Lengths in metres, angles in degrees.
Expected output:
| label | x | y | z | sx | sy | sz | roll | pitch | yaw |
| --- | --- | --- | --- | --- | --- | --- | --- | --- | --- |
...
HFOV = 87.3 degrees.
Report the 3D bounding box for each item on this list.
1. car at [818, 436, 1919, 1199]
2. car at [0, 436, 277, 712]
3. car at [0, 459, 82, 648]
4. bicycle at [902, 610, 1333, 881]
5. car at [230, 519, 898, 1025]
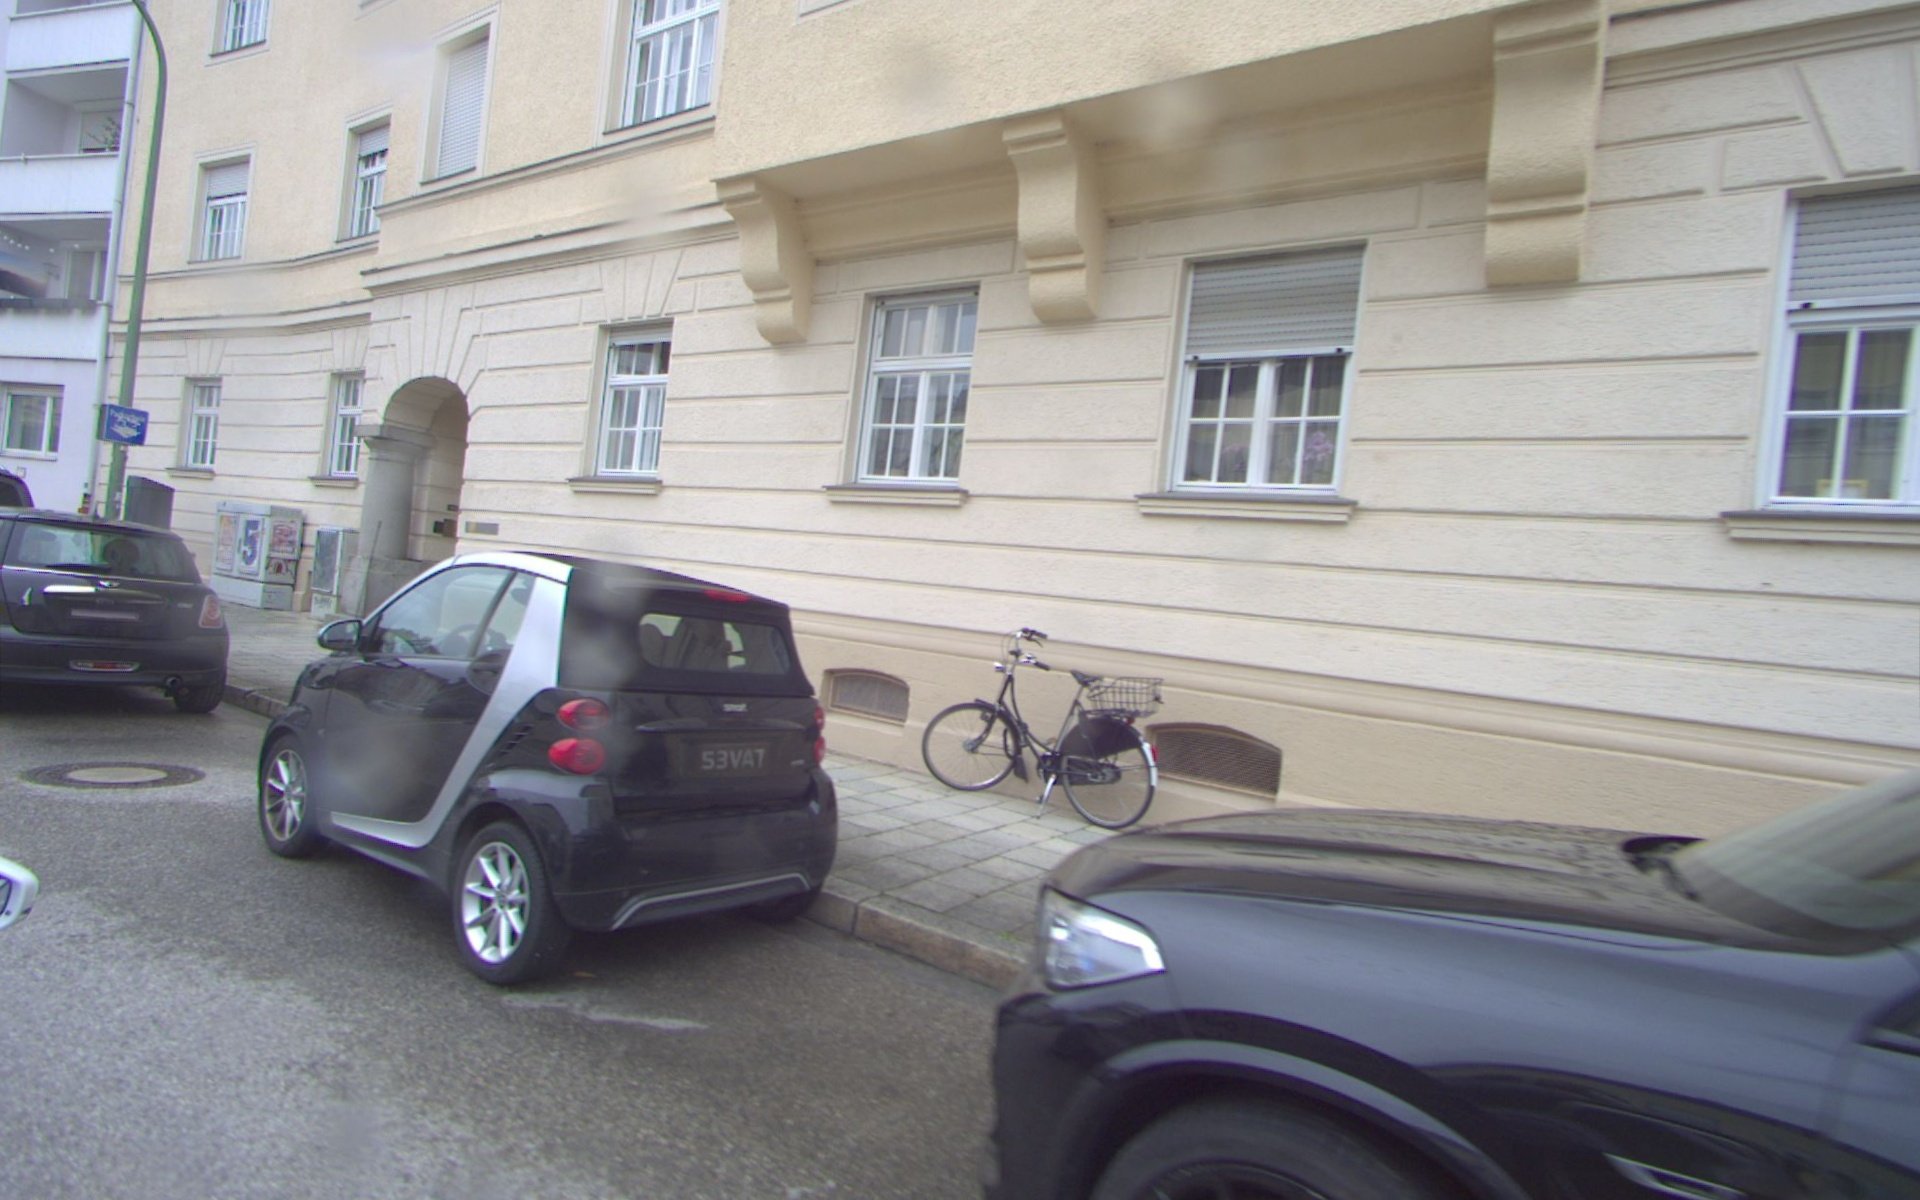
| label | x | y | z | sx | sy | sz | roll | pitch | yaw |
| --- | --- | --- | --- | --- | --- | --- | --- | --- | --- |
| car | 2.216 | 0.884 | 1.576 | 4.612 | 1.750 | 1.930 | 8 | -1 | 34 |
| car | -7.397 | -0.255 | 8.044 | 3.671 | 1.749 | 1.839 | 6 | -2 | 34 |
| car | -11.458 | -0.700 | 10.491 | 4.163 | 1.819 | 1.843 | 6 | -2 | 26 |
| bicycle | 0.932 | 0.833 | 6.537 | 2.602 | 1.261 | 0.702 | 6 | 0 | 34 |
| car | -1.933 | 0.577 | 4.737 | 2.819 | 1.574 | 1.509 | 6 | -2 | 36 |
